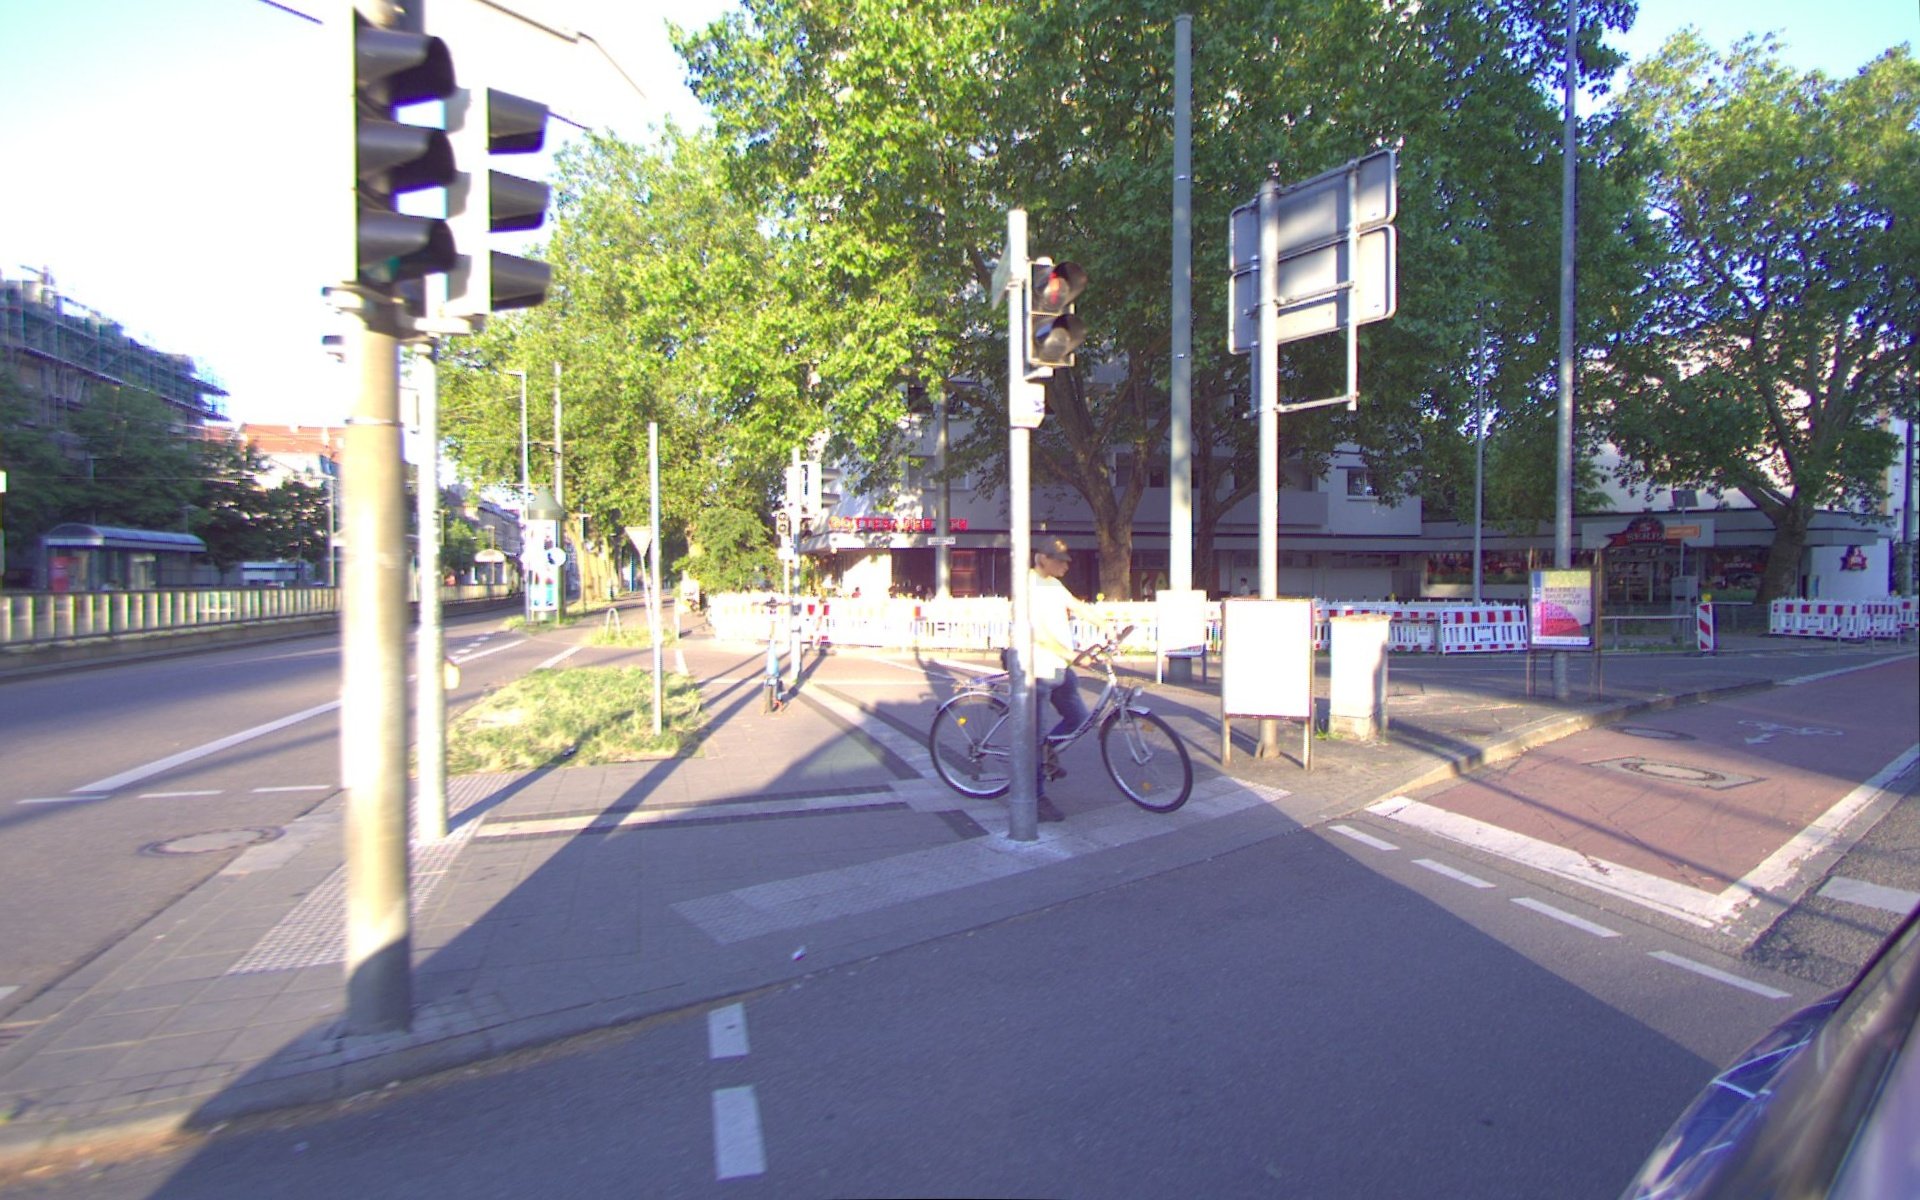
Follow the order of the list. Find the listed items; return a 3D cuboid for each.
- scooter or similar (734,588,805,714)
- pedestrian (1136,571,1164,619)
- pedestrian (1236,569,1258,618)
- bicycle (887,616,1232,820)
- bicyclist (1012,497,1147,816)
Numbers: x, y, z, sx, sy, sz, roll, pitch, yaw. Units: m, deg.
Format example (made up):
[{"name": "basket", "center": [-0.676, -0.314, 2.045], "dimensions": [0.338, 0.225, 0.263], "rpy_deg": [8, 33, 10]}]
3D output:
[{"name": "scooter or similar", "center": [-2.038, 0.512, 10.930], "dimensions": [0.506, 1.265, 1.235], "rpy_deg": [-1, 1, 0]}, {"name": "pedestrian", "center": [6.442, -0.164, 34.301], "dimensions": [0.639, 1.608, 0.735], "rpy_deg": [-1, 1, 44]}, {"name": "pedestrian", "center": [9.587, -0.216, 33.782], "dimensions": [0.634, 1.608, 0.741], "rpy_deg": [-1, 1, 22]}, {"name": "bicycle", "center": [0.618, 0.682, 6.315], "dimensions": [2.045, 1.123, 0.624], "rpy_deg": [-1, 1, 19]}, {"name": "bicyclist", "center": [0.754, 0.324, 6.263], "dimensions": [0.689, 1.847, 0.625], "rpy_deg": [-1, 1, 19]}]
